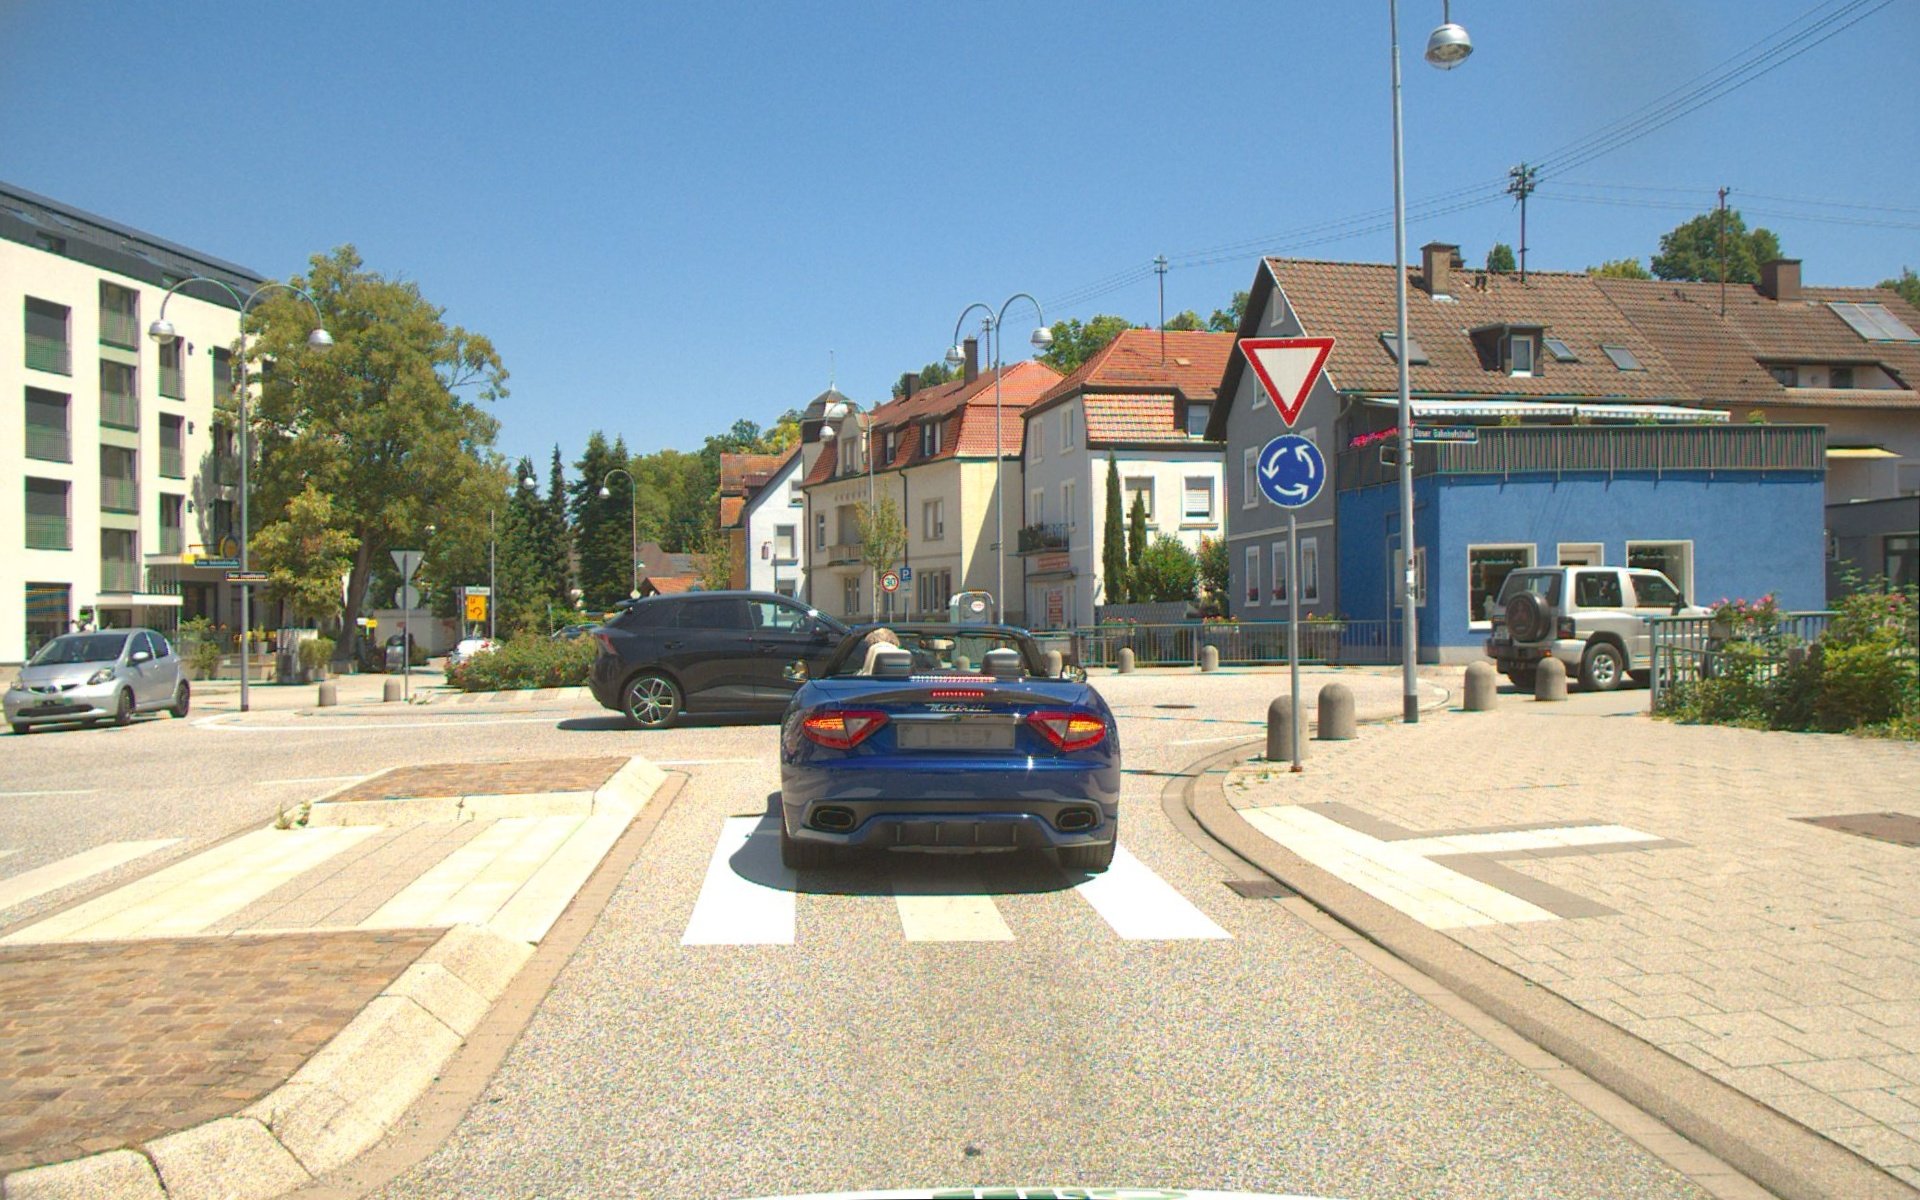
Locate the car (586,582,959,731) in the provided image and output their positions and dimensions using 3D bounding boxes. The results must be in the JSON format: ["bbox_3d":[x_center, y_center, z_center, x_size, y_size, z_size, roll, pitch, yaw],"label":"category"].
[{"bbox_3d":[-2.210,0.618,19.620,4.170,1.574,1.808,-1,1,-9],"label":"car"}]

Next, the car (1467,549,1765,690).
[{"bbox_3d":[9.890,0.270,24.923,4.163,1.908,1.749,-2,-1,-25],"label":"car"}]

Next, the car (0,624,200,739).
[{"bbox_3d":[-13.106,1.188,25.257,1.544,1.475,3.467,-3,0,-5],"label":"car"}]

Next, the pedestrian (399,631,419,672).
[{"bbox_3d":[-21.950,2.032,65.846,0.523,1.603,0.563,-2,-1,9],"label":"pedestrian"}]

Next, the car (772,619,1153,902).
[{"bbox_3d":[0.001,0.817,10.291,1.871,1.384,4.285,0,-1,0],"label":"car"}]

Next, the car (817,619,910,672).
[{"bbox_3d":[-3.280,1.553,55.472,1.891,1.641,4.120,-1,-2,-21],"label":"car"}]

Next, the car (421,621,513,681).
[{"bbox_3d":[-14.101,1.436,47.502,1.957,1.536,3.991,-3,-1,-9],"label":"car"}]
